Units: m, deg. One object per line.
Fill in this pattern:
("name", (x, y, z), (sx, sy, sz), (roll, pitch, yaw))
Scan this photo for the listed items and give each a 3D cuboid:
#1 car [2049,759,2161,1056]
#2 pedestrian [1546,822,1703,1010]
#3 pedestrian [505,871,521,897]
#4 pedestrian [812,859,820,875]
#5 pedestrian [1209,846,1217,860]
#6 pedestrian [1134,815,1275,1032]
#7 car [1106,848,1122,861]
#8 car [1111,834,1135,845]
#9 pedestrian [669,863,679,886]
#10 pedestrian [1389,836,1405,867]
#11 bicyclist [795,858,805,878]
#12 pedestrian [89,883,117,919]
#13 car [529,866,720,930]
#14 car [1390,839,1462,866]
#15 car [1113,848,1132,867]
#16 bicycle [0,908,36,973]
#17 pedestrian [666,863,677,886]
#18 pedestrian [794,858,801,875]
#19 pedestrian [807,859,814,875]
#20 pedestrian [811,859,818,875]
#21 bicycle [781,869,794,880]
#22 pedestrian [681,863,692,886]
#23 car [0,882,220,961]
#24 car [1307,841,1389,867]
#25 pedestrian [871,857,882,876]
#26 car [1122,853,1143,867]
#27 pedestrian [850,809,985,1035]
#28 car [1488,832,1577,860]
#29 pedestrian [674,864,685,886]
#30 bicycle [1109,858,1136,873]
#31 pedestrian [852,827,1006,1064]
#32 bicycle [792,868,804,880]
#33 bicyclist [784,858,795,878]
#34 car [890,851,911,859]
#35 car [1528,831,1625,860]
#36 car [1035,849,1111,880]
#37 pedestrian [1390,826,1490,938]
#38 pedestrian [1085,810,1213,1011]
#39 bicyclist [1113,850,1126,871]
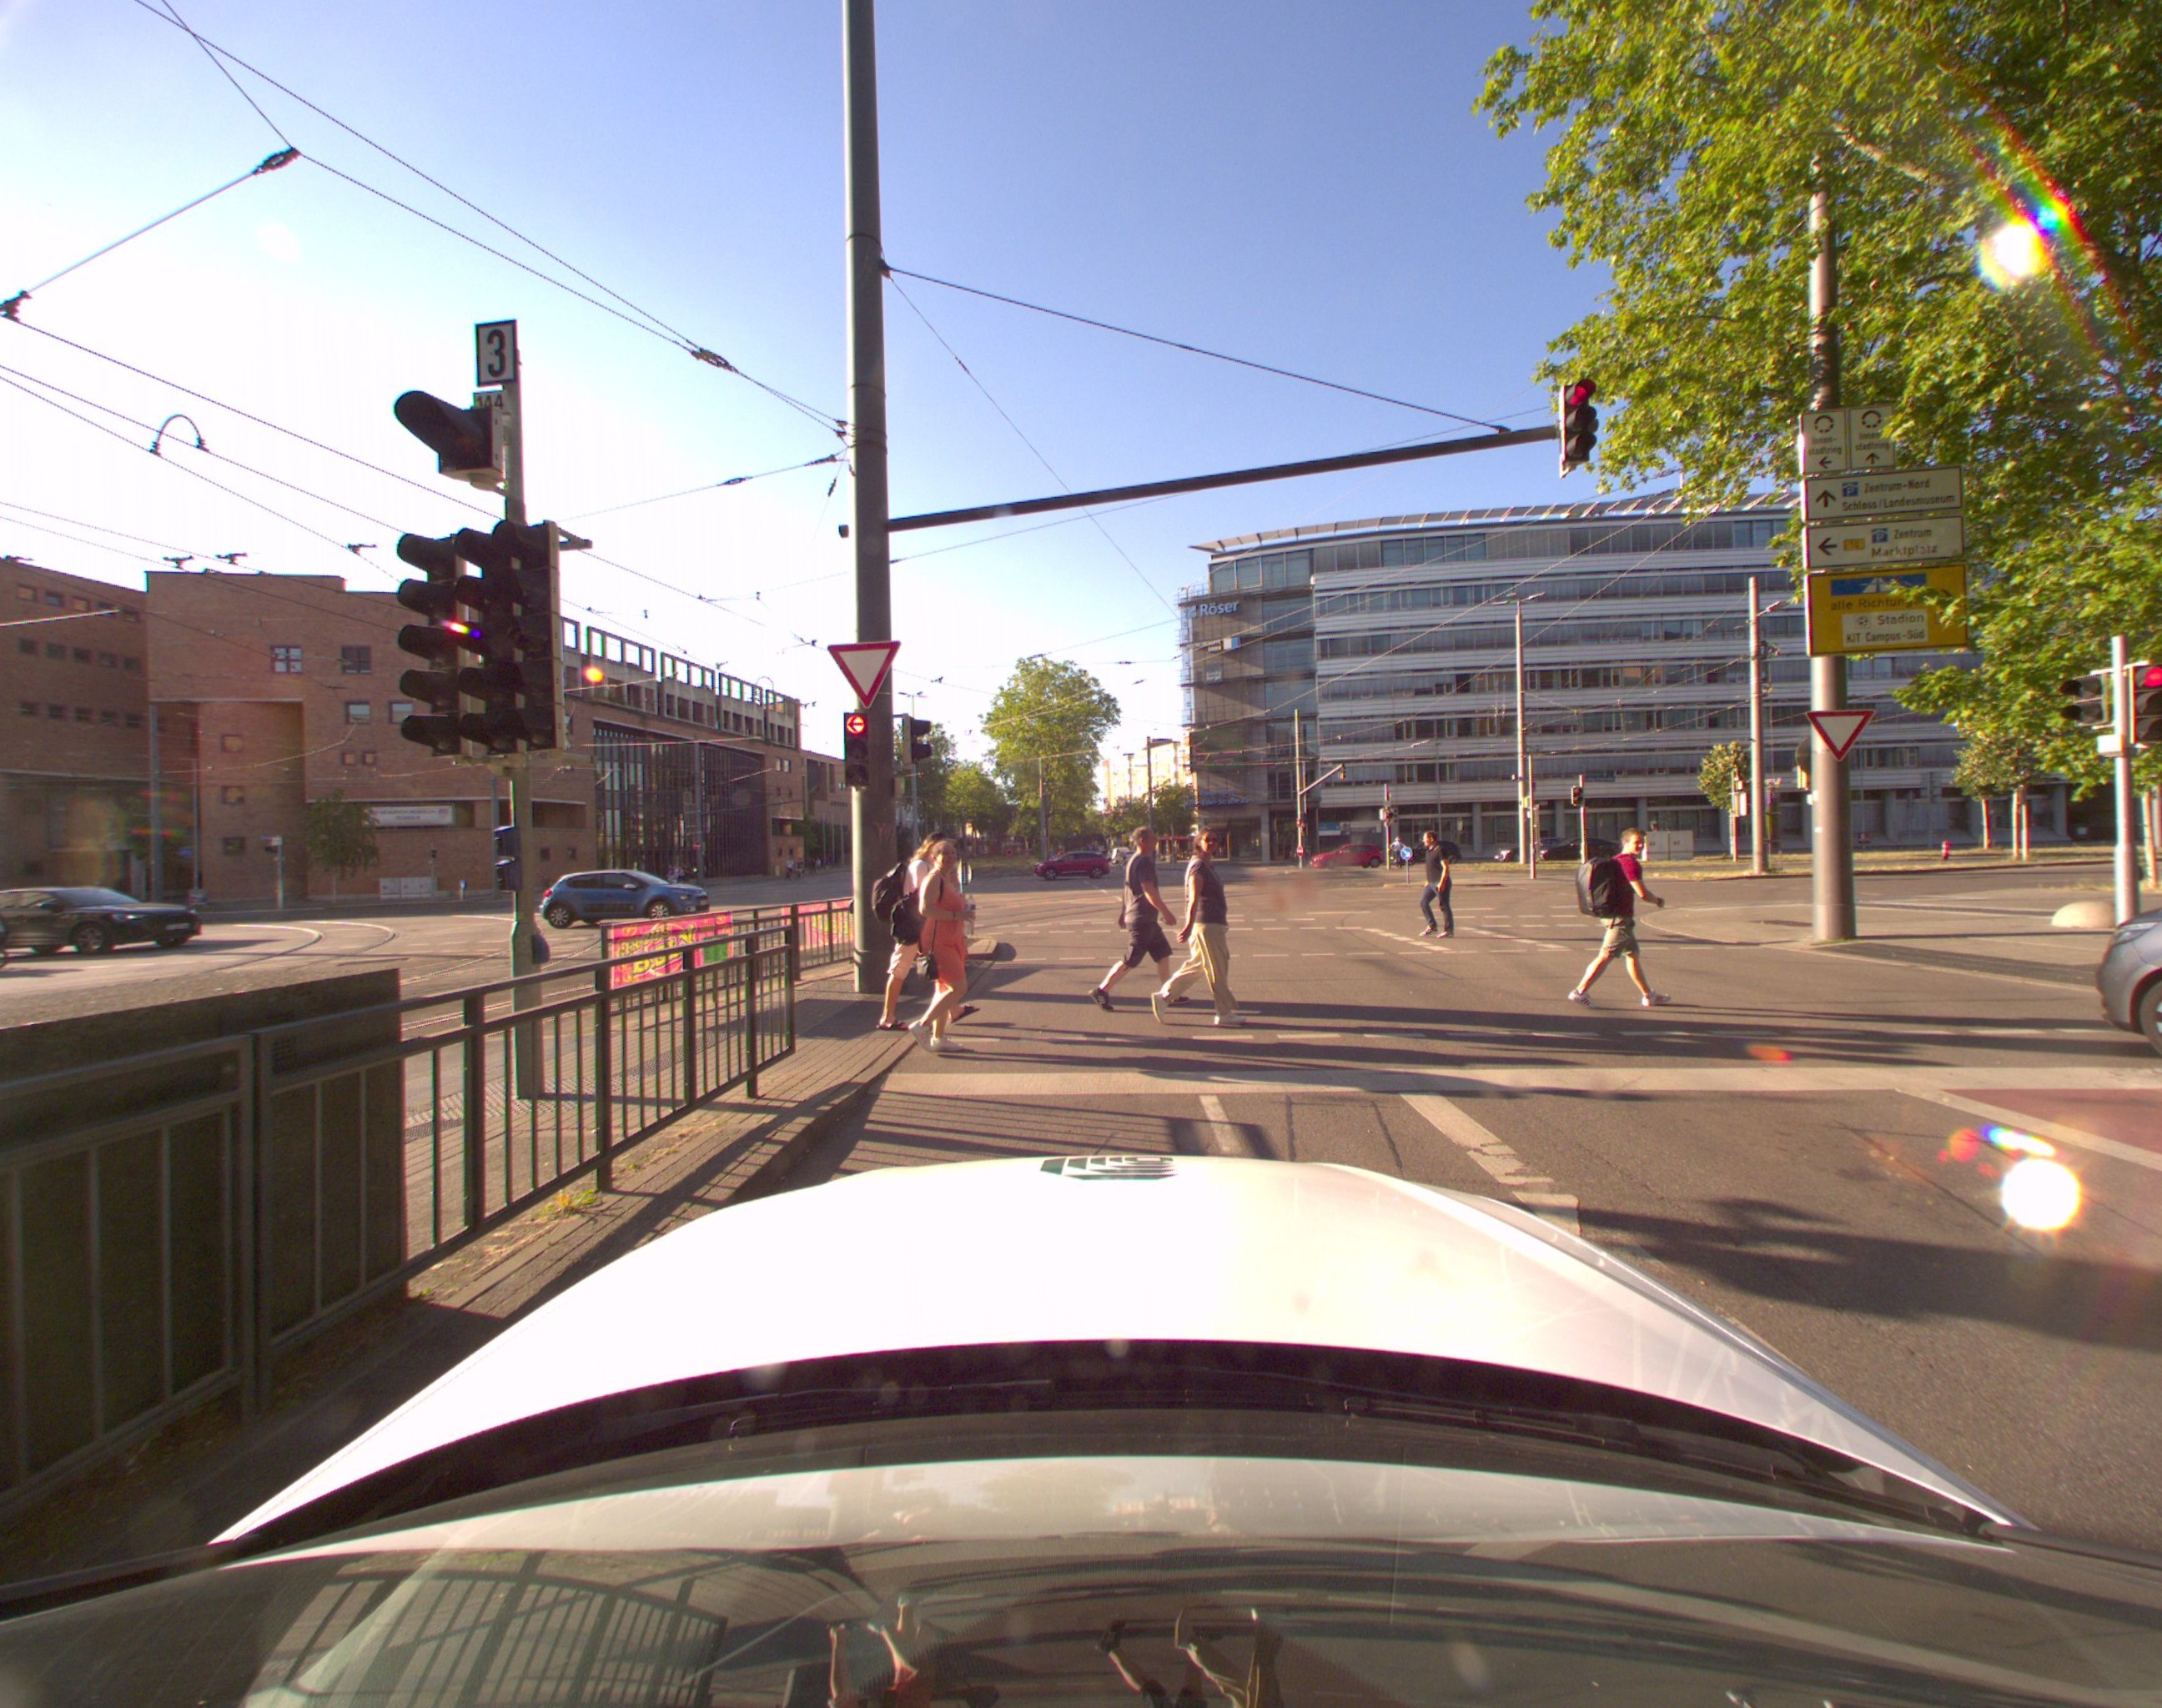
("car", (8.079, 0.357, 3.446), (1.986, 1.966, 5.140), (0, 0, 2))
("pedestrian", (5.197, 0.567, 7.830), (1.070, 1.715, 0.628), (-1, -1, -2))
("pedestrian", (-35.308, 1.856, 50.628), (0.538, 1.613, 0.575), (-2, 0, 33))
("pedestrian", (-29.728, 1.474, 91.377), (0.637, 1.810, 0.547), (-2, 0, 8))
("pedestrian", (14.158, -0.157, 87.425), (0.734, 1.465, 0.538), (-2, 0, 11))
("pedestrian", (1.069, 0.578, 7.242), (1.070, 1.806, 0.756), (-1, -1, -6))
("car", (4.278, 0.059, 106.762), (1.986, 1.662, 4.002), (-2, 0, 2))
("car", (7.373, -2.509, 143.033), (3.732, 1.750, 1.789), (0, 0, 16))
("pedestrian", (-29.753, 1.527, 59.555), (0.538, 1.650, 0.622), (-2, 0, -17))
("pedestrian", (17.086, -0.124, 44.071), (0.715, 1.681, 0.558), (-1, 0, 9))
("bicyclist", (-23.557, 1.163, 68.229), (0.592, 1.675, 0.788), (-2, 0, -5))
("pedestrian", (-45.776, 2.184, 38.134), (0.542, 1.613, 0.613), (0, 1, -3))
("car", (-12.198, 1.146, 21.994), (3.943, 1.456, 1.999), (-2, 0, -2))
("car", (21.918, -0.100, 51.856), (3.844, 1.507, 1.797), (-2, 0, 3))
("car", (4.656, 0.349, 91.427), (1.986, 1.991, 4.002), (-2, 0, 2))
("bicycle", (-21.936, 1.720, 15.680), (2.150, 1.226, 1.072), (-2, 1, 0))
("pedestrian", (-29.266, 1.449, 58.158), (0.538, 1.650, 0.622), (-2, 0, -17))
("pedestrian", (-31.434, 1.395, 90.378), (0.487, 1.810, 0.547), (-2, 0, 9))
("pedestrian", (-30.497, 1.465, 91.814), (0.487, 1.810, 0.547), (-2, 0, 9))
("pedestrian", (-29.581, 1.475, 90.484), (0.519, 1.779, 0.547), (-2, 0, 9))
("bicycle", (-24.468, 1.728, 67.884), (0.512, 0.881, 1.835), (-2, 0, -6))
("pedestrian", (-28.624, 1.486, 59.065), (0.538, 1.650, 0.622), (-2, 0, -17))
("car", (-23.222, 1.540, 18.848), (4.469, 1.583, 1.824), (-2, 0, -2))
("car", (15.815, 0.003, 48.400), (4.227, 1.392, 1.795), (-2, 0, -1))
("pedestrian", (-16.188, 0.999, 64.522), (0.753, 1.530, 0.507), (-1, 0, -6))
("car", (5.356, 0.569, 84.567), (1.986, 1.332, 4.002), (-2, 0, 2))
("pedestrian", (-1.411, 0.562, 7.211), (1.072, 1.871, 0.737), (-1, -1, -6))
("car", (26.623, -0.468, 48.152), (4.218, 1.434, 1.799), (-2, 0, 7))
("pedestrian", (-29.738, 1.549, 60.325), (0.538, 1.650, 0.622), (-2, 0, -17))
("bicycle", (2.801, 0.761, 54.588), (1.737, 0.899, 0.408), (-2, 0, -3))
("pedestrian", (-1.132, 0.655, 6.272), (1.071, 1.681, 0.756), (-1, -1, -6))
("bicycle", (-23.647, 1.677, 68.172), (0.512, 0.881, 1.835), (-2, 0, -6))
("bicyclist", (-24.324, 1.165, 67.991), (0.592, 1.675, 0.788), (-2, 0, -5))
("car", (-38.911, 0.215, 175.563), (4.011, 1.552, 1.592), (0, 0, -30))
("car", (27.460, -0.454, 45.237), (4.219, 1.392, 1.799), (-2, 0, 6))
("car", (-0.501, 0.594, 47.490), (4.238, 1.602, 1.791), (-2, 0, -8))
("pedestrian", (6.061, 0.457, 13.814), (1.206, 1.822, 1.040), (0, -1, -4))
("pedestrian", (0.660, 0.534, 8.213), (1.143, 1.893, 0.831), (-1, -1, -6))
("bicyclist", (2.596, 0.414, 54.577), (0.817, 1.366, 0.400), (-2, 0, -3))
